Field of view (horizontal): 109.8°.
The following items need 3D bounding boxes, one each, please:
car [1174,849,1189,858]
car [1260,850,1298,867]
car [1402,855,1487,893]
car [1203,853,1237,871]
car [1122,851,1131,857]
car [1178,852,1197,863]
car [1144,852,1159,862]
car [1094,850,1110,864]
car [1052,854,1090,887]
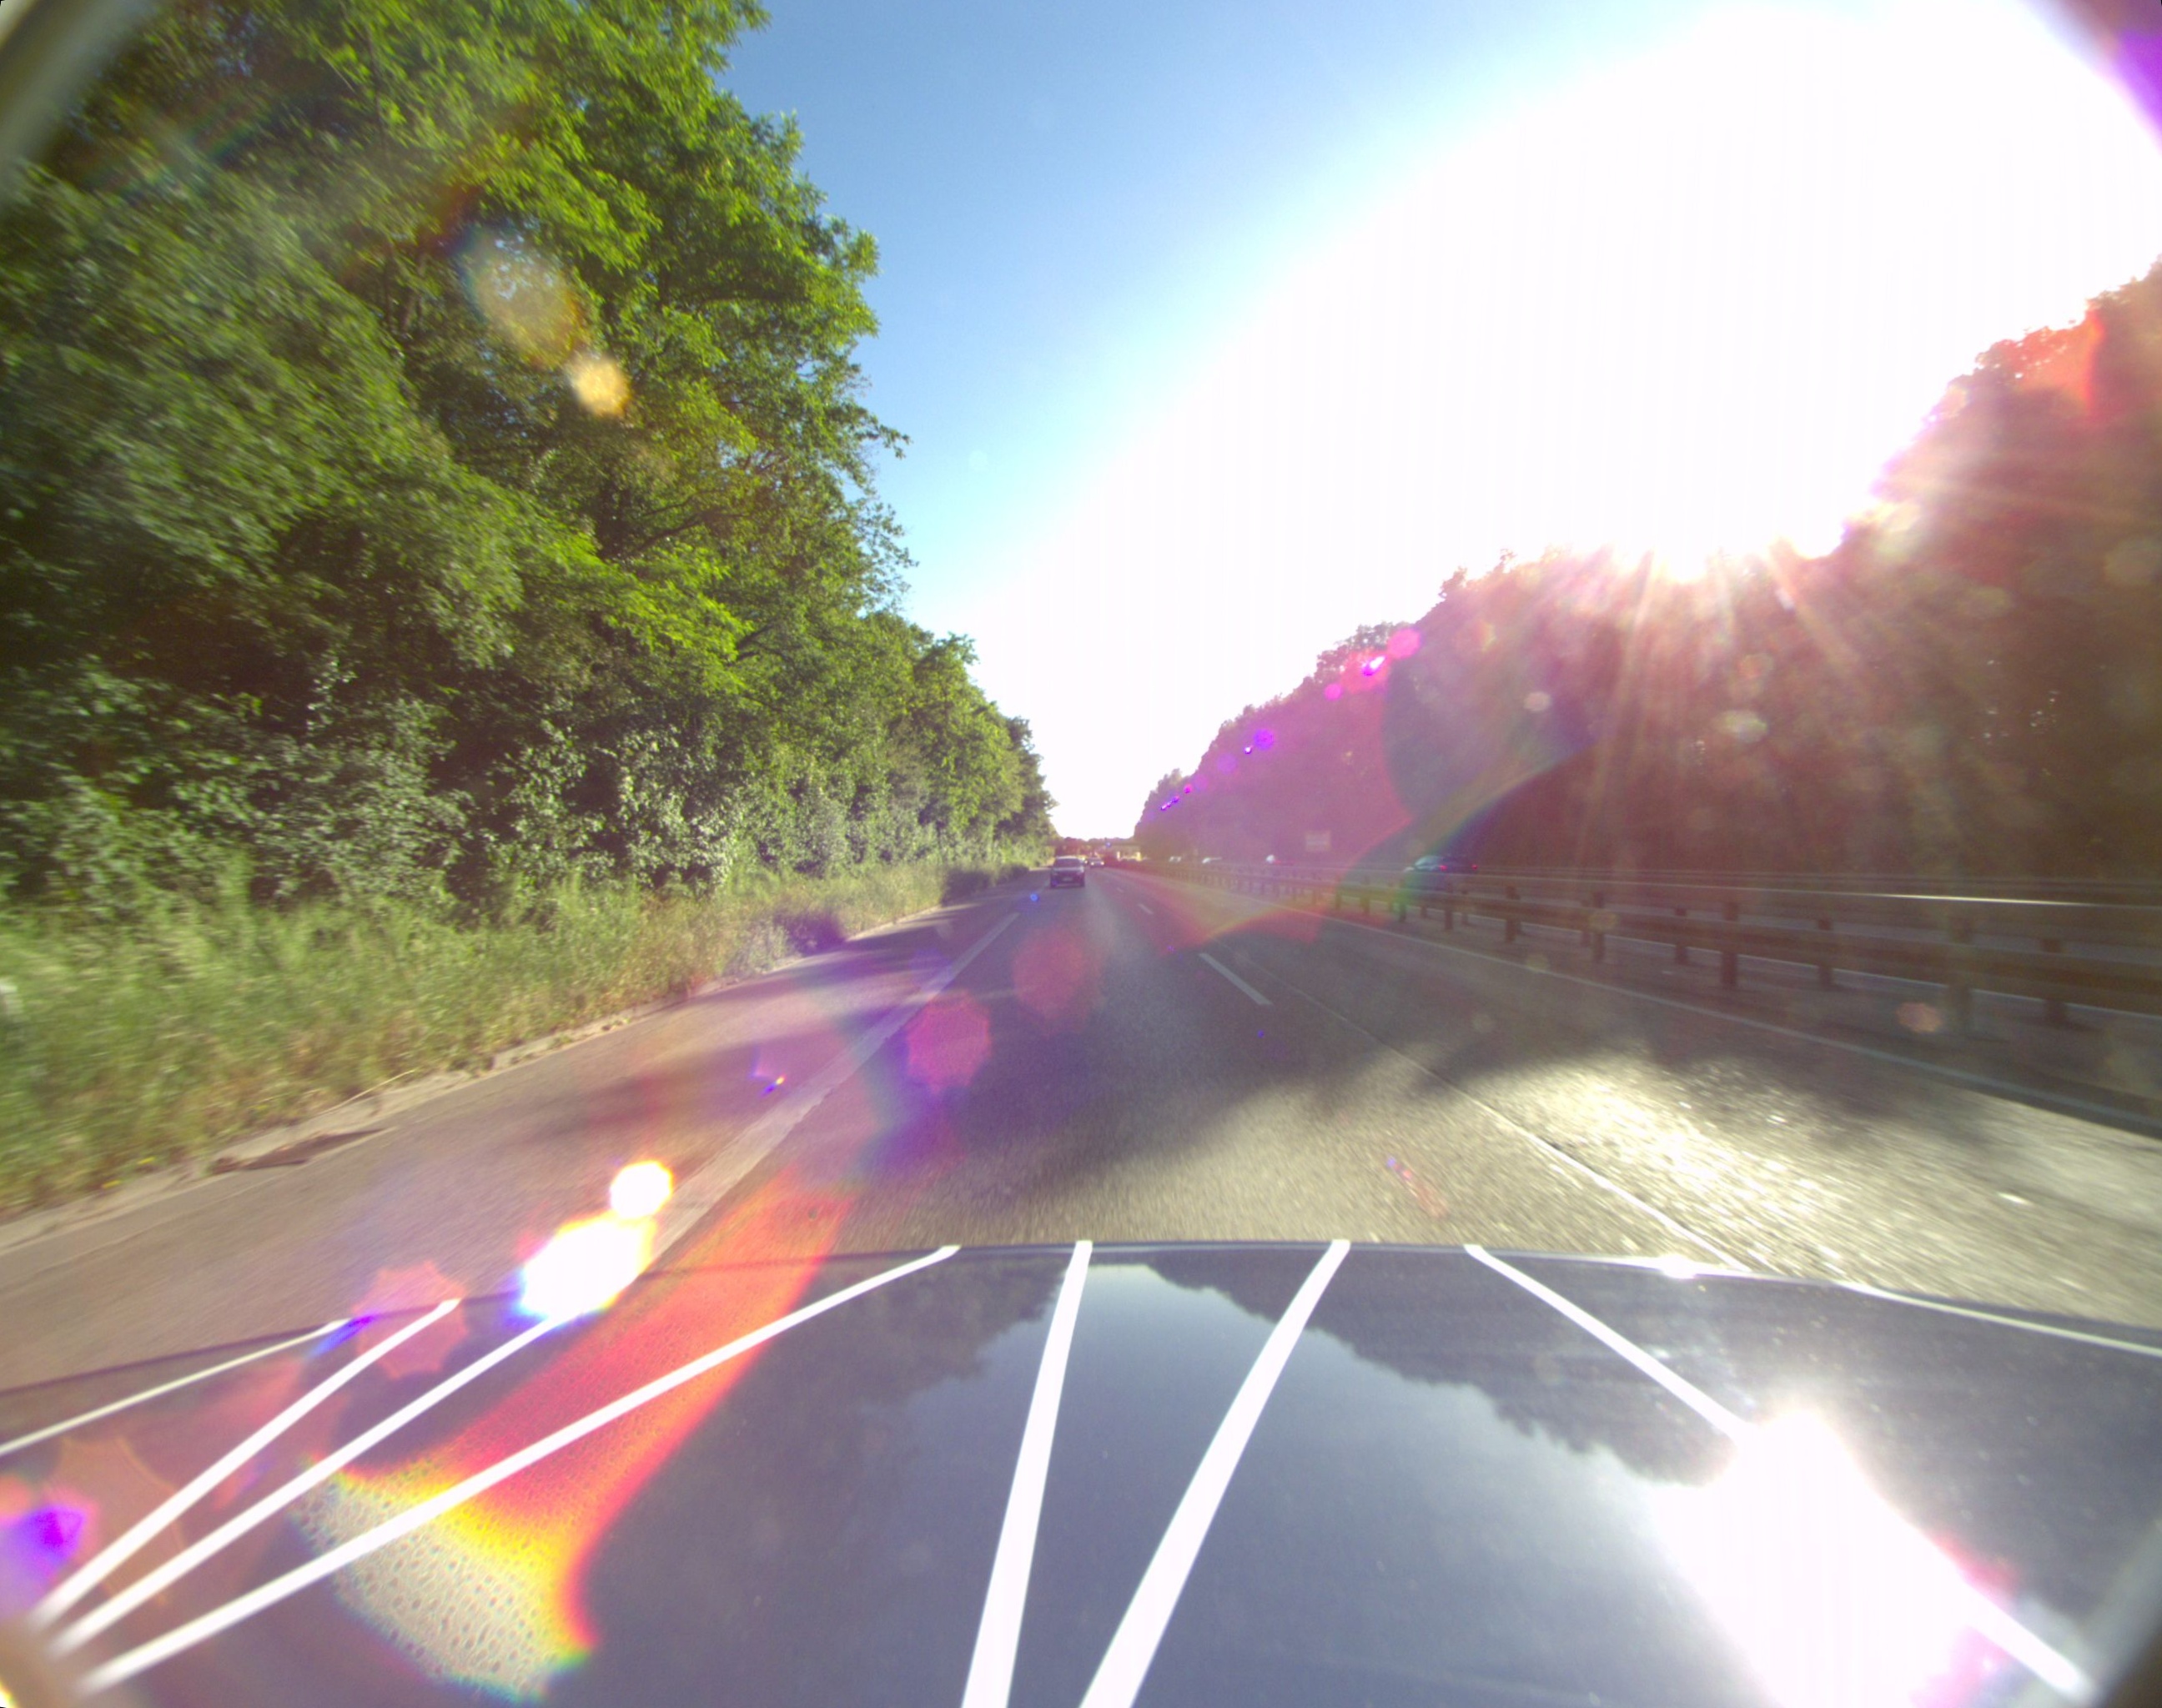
[{"bbox_3d":[16.928,-0.092,128.288,1.998,1.614,4.790,1,0,2],"label":"car"},{"bbox_3d":[17.273,0.357,66.484,1.998,1.455,4.902,1,0,0],"label":"car"},{"bbox_3d":[15.025,0.767,31.602,1.610,1.414,4.000,-1,0,0],"label":"car"},{"bbox_3d":[11.717,0.656,64.451,1.998,1.455,4.740,1,0,0],"label":"car"},{"bbox_3d":[12.197,0.022,205.698,1.999,1.689,4.907,1,0,-1],"label":"car"},{"bbox_3d":[14.486,0.450,103.689,1.998,1.455,4.000,1,0,0],"label":"car"},{"bbox_3d":[10.694,0.425,115.658,1.729,1.365,4.094,0,2,-1],"label":"car"},{"bbox_3d":[2.791,0.363,102.910,1.999,1.793,3.999,1,0,0],"label":"car"},{"bbox_3d":[-0.478,0.801,39.523,1.712,1.565,3.423,-2,0,2],"label":"car"}]
